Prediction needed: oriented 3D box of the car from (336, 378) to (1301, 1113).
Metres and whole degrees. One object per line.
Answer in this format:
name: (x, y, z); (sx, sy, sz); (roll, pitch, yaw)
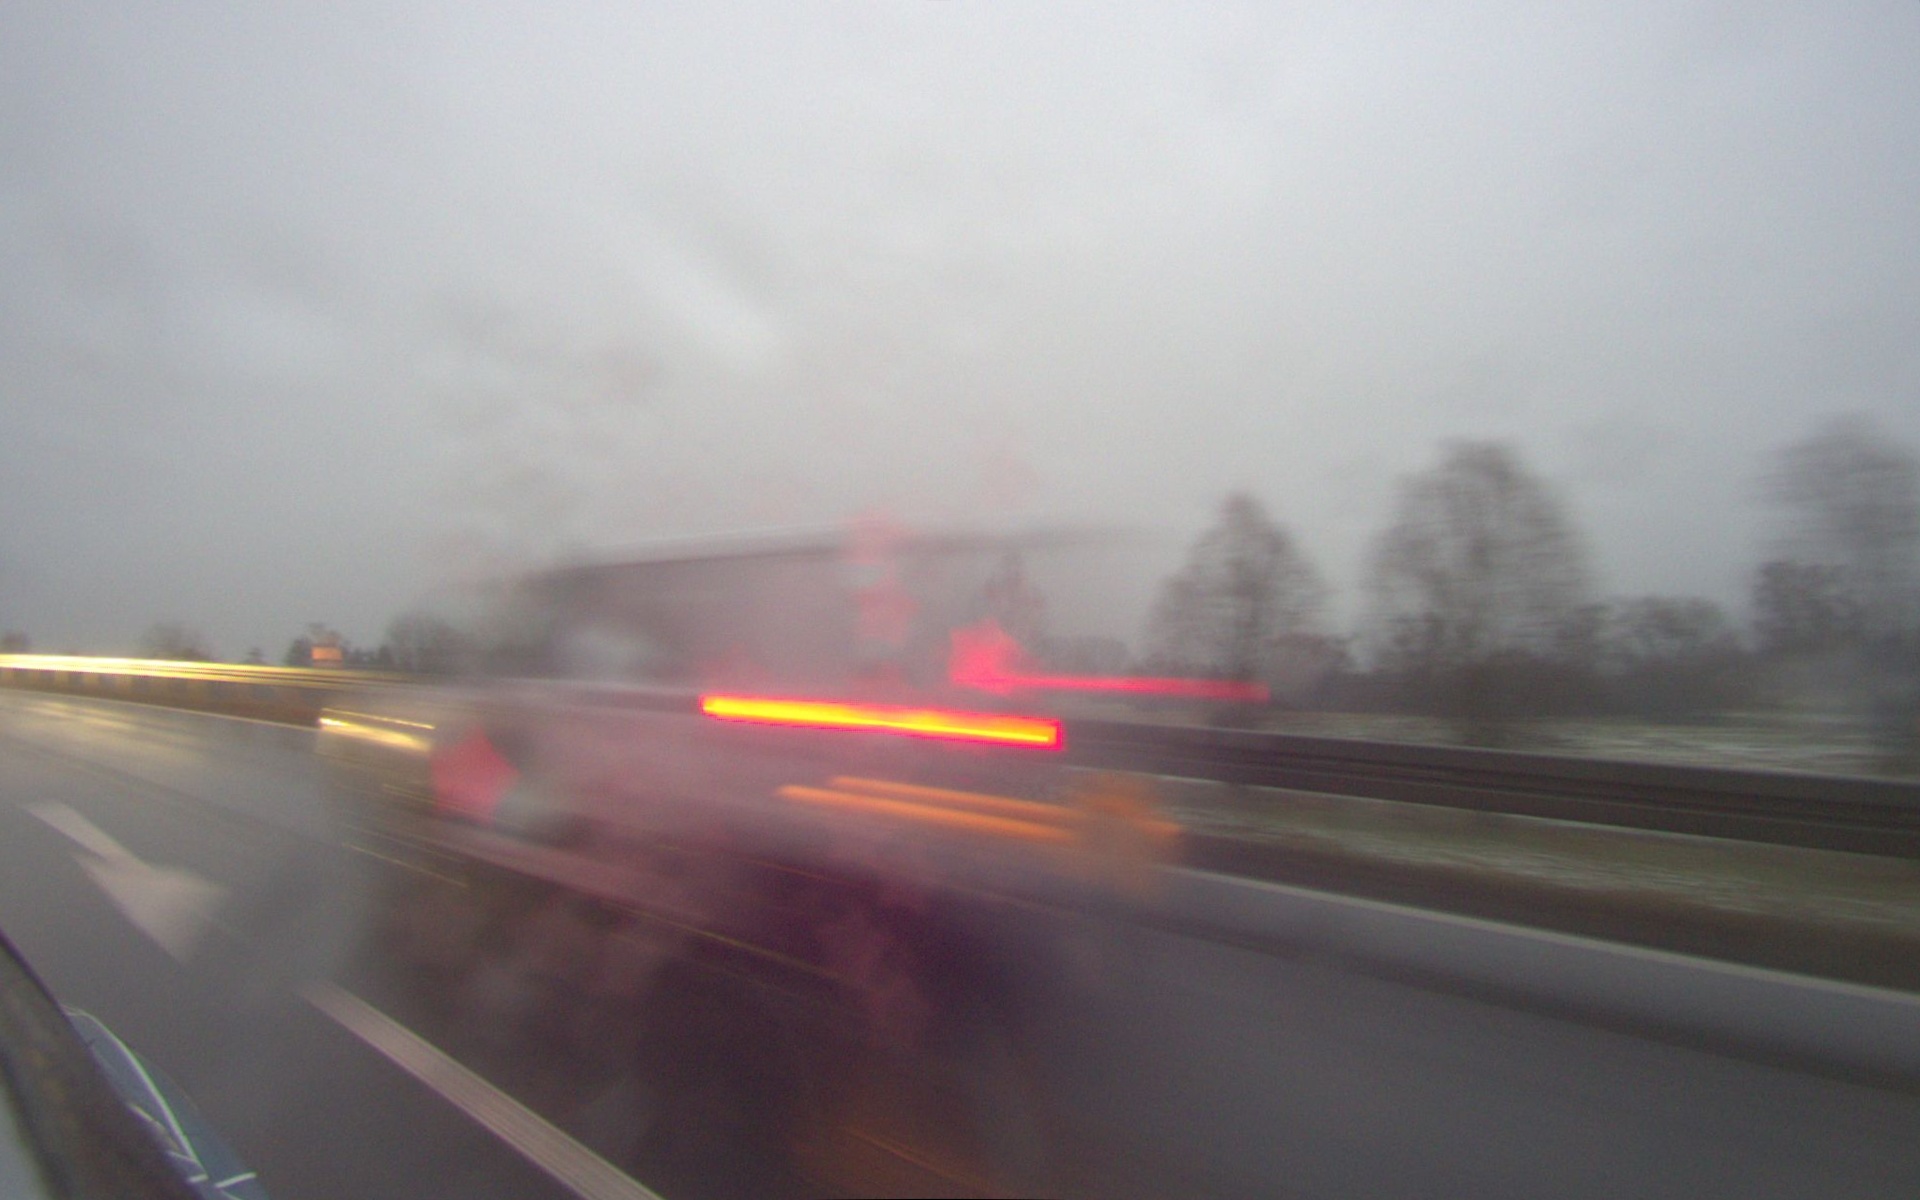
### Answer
car: (-1.150, 0.450, 4.956); (5.004, 1.878, 1.863); (-2, -2, 41)
